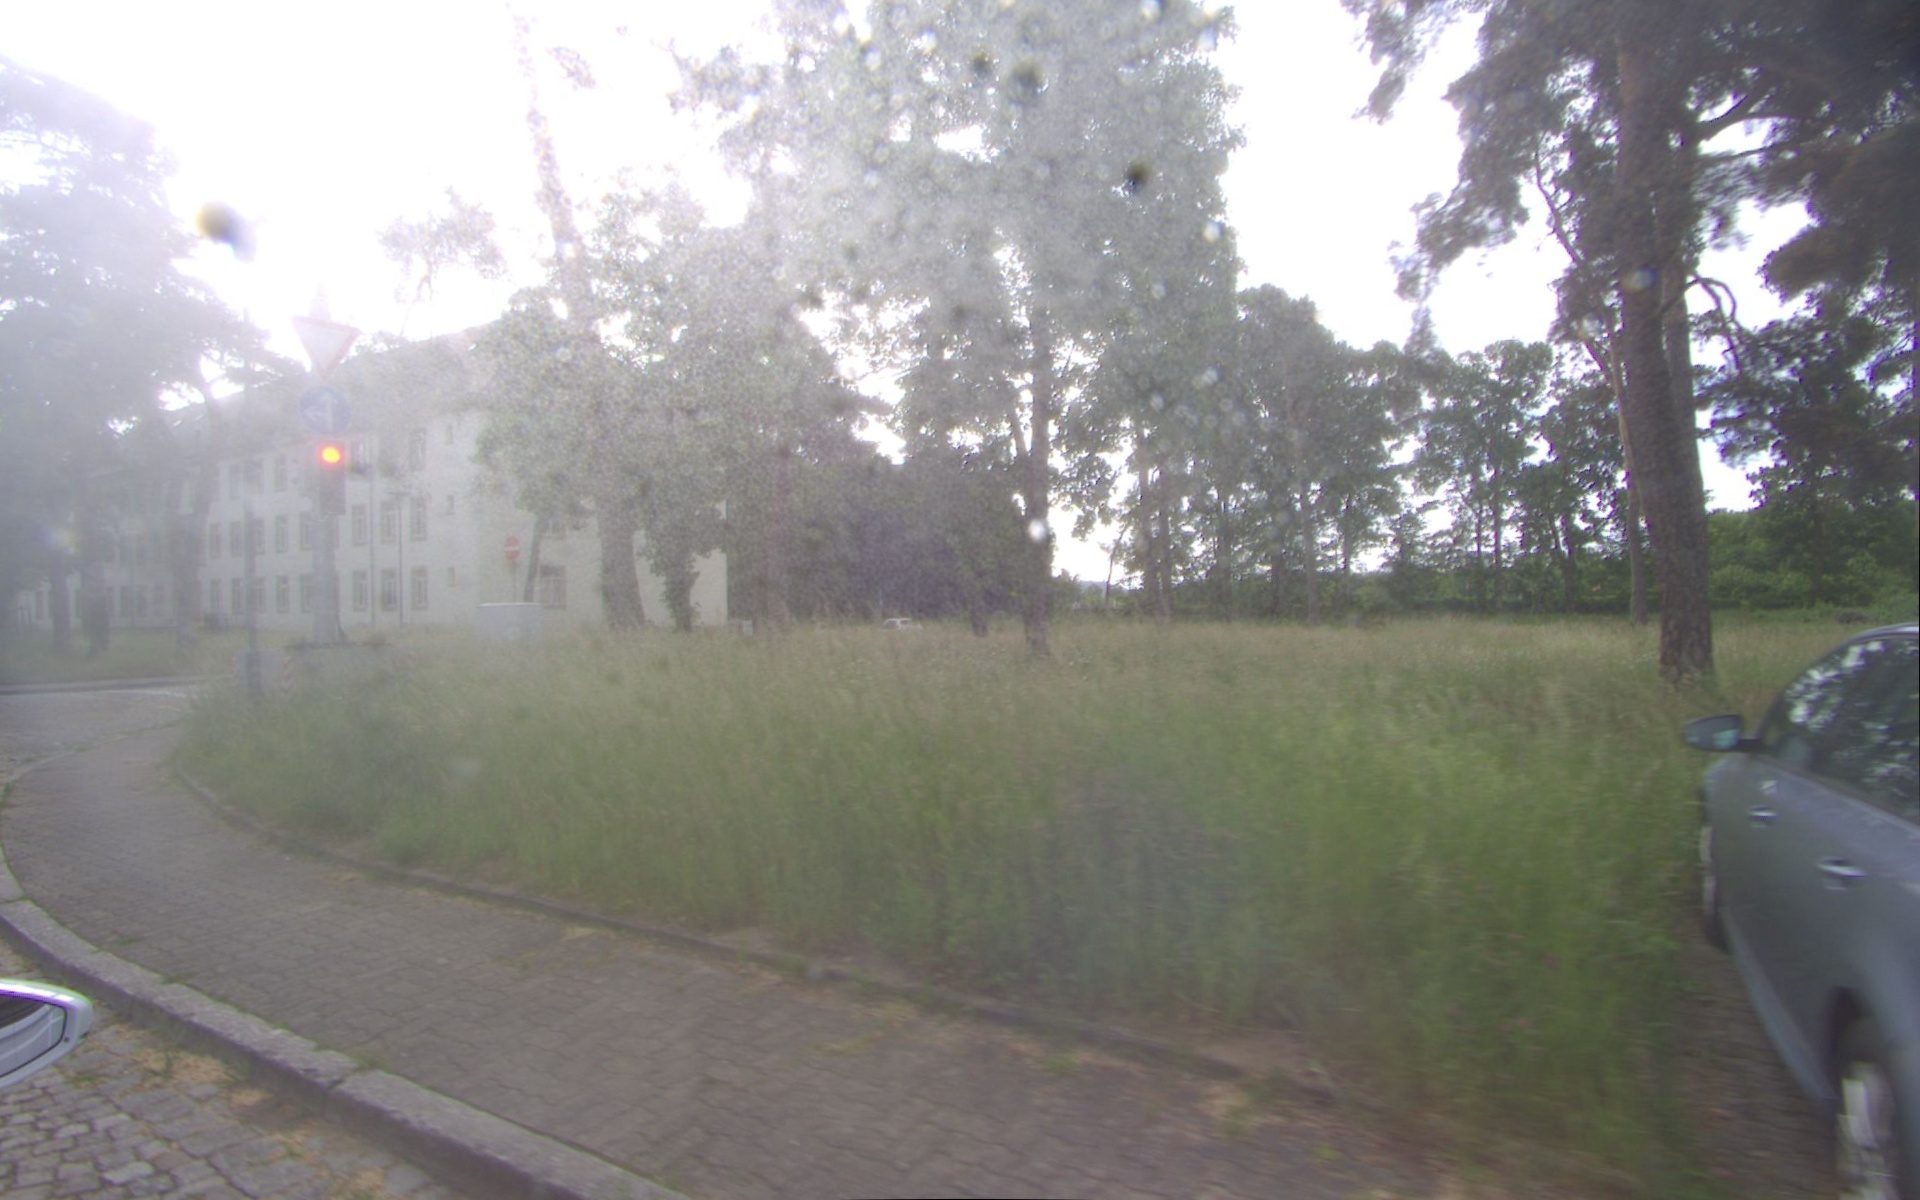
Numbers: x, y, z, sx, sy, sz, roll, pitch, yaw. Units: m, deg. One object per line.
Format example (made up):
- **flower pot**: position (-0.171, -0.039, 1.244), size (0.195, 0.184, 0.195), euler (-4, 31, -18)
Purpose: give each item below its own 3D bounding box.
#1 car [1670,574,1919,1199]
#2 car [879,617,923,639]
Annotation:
- **car**: position (3.163, 0.673, 2.738), size (1.673, 1.448, 3.992), euler (0, 2, 31)
- **car**: position (-4.050, 1.955, 69.603), size (1.468, 1.455, 3.178), euler (-1, -2, 33)
